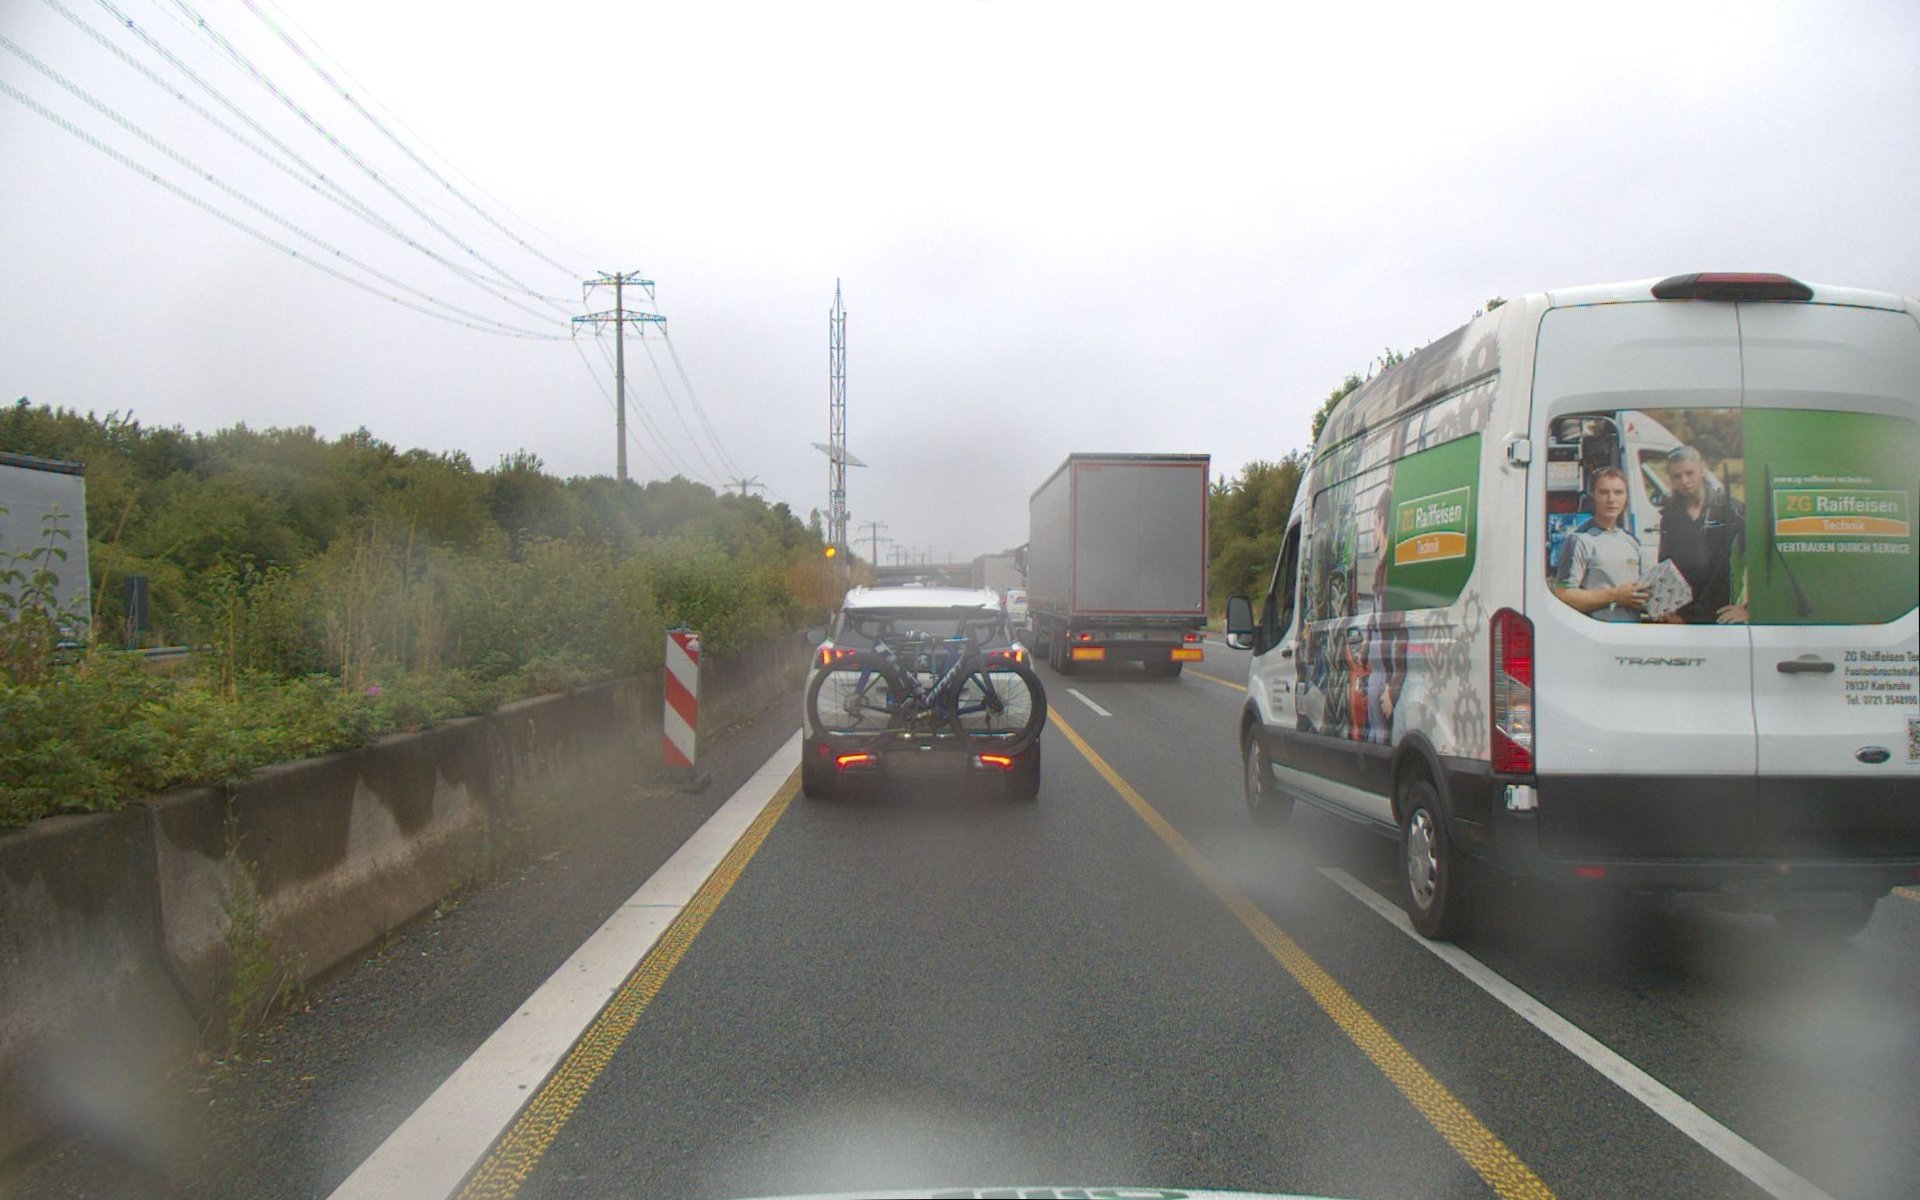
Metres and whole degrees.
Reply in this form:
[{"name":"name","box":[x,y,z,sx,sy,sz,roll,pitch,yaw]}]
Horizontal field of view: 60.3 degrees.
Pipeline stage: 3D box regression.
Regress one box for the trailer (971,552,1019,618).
[{"name":"trailer","box":[2.260,-0.978,110.648,2.638,4.148,13.630,0,0,-1]}]

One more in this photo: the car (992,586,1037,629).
[{"name":"car","box":[2.438,0.333,75.291,1.792,1.871,4.654,0,0,-1]}]

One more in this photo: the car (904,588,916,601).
[{"name":"car","box":[-7.686,-0.834,255.076,1.892,1.944,4.000,0,1,-1]}]

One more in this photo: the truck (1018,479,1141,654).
[{"name":"truck","box":[2.997,-0.825,42.782,2.651,4.211,5.689,0,0,-1]}]

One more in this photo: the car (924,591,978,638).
[{"name":"car","box":[-0.354,0.483,57.829,1.812,1.557,3.999,0,0,-1]}]

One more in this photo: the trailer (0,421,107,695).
[{"name":"trailer","box":[-15.568,-0.556,21.061,2.730,4.093,13.246,-3,0,-2]}]

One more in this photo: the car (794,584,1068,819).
[{"name":"car","box":[-0.235,0.666,13.370,1.812,1.557,4.767,0,0,-1]}]

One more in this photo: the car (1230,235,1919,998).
[{"name":"car","box":[3.006,0.046,9.051,1.953,2.831,5.754,0,0,-2]}]

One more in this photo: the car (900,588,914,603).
[{"name":"car","box":[-7.579,-0.631,237.123,1.892,2.008,4.000,0,1,-1]}]

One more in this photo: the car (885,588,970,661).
[{"name":"car","box":[-0.737,0.525,37.596,1.812,1.557,3.999,0,0,-1]}]

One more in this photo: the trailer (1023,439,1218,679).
[{"name":"trailer","box":[3.097,-0.745,36.033,2.651,4.218,13.729,0,0,-1]}]
